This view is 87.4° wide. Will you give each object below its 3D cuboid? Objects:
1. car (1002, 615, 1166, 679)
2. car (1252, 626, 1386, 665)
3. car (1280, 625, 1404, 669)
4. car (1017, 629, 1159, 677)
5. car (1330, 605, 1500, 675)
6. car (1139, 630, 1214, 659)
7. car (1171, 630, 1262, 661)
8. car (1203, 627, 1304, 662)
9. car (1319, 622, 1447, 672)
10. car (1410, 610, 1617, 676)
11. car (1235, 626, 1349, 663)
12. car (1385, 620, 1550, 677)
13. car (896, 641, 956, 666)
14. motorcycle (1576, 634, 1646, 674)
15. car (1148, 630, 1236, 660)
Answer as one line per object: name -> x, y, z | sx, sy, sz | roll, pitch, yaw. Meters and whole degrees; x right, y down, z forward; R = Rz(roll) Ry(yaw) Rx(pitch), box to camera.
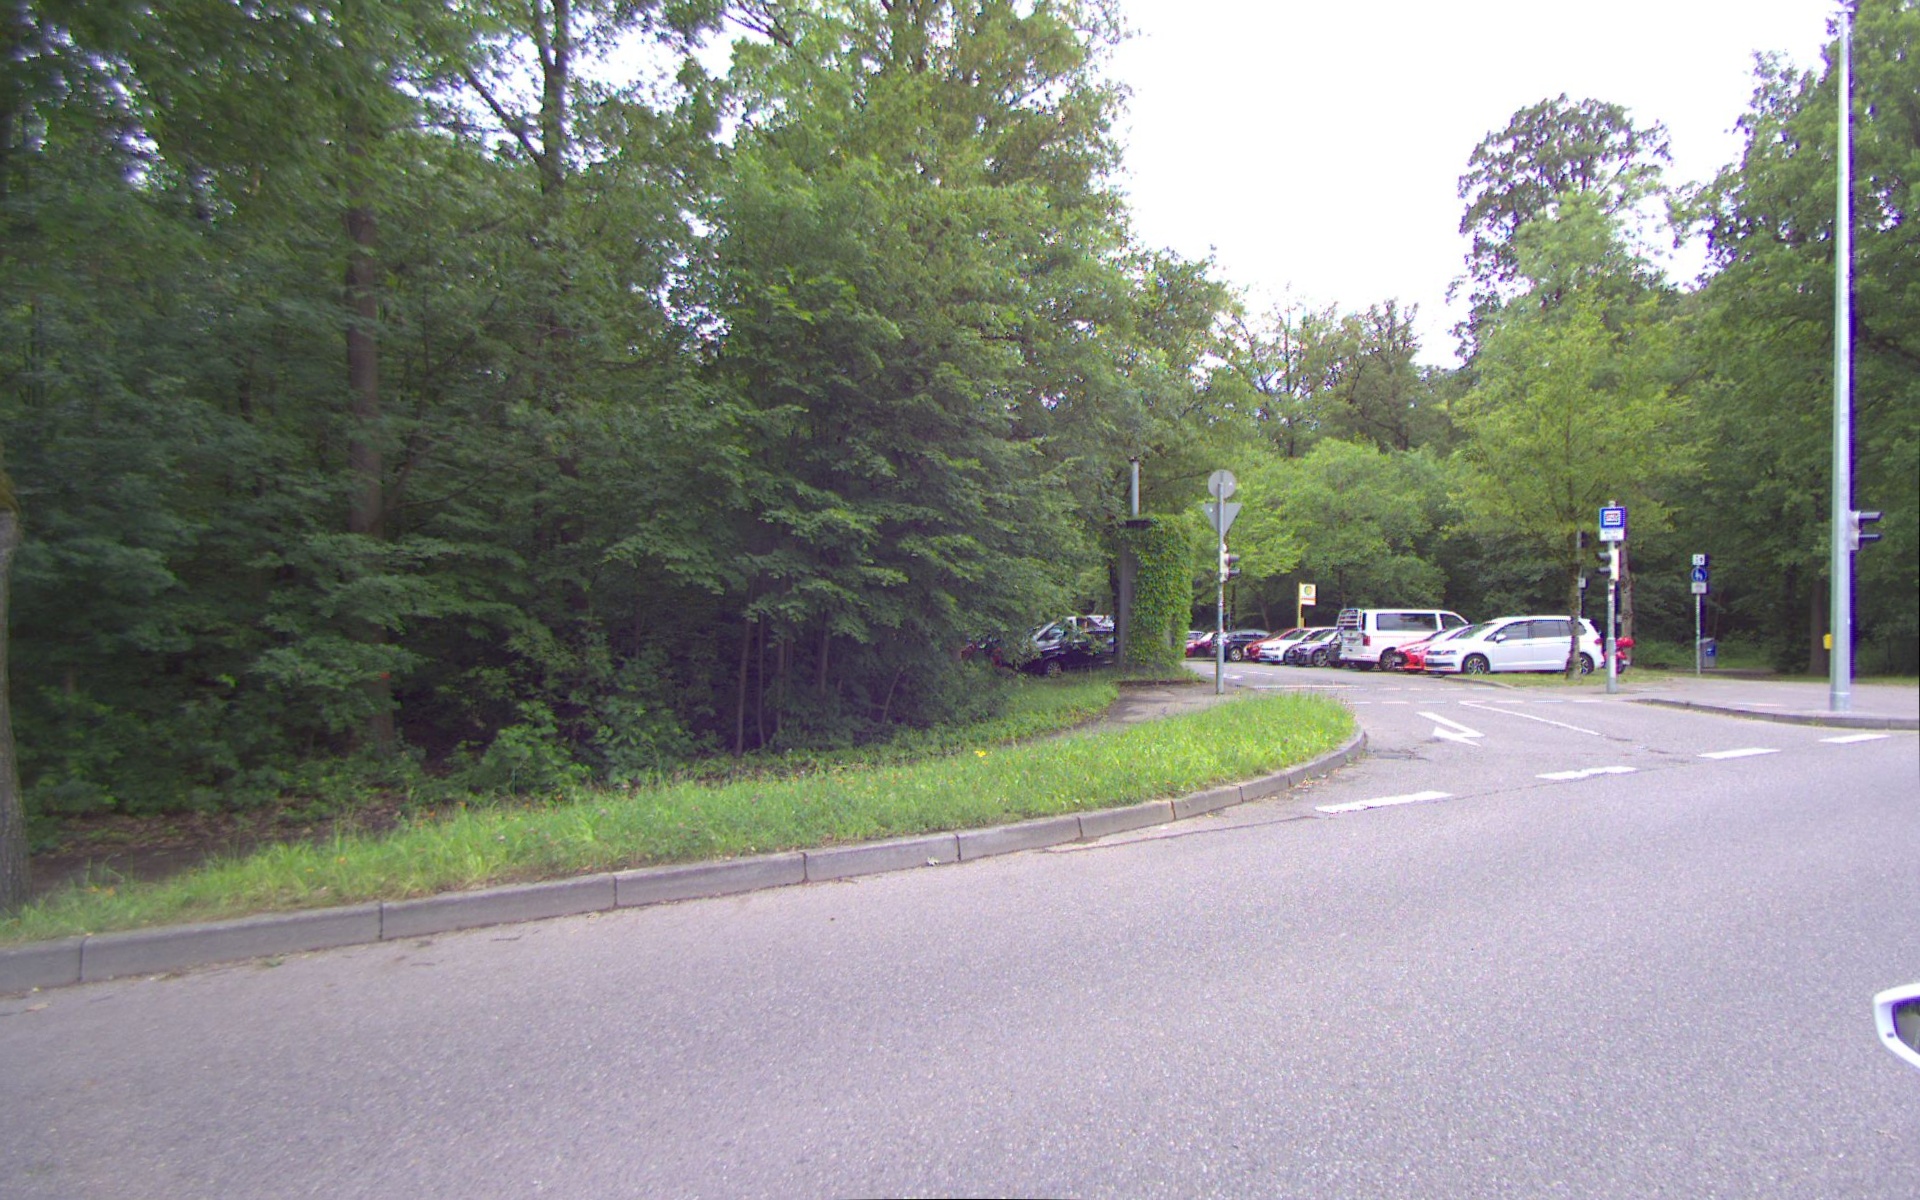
car -> 3.979, 1.510, 32.683 | 5.004, 1.940, 1.978 | -1, -2, -3
car -> 14.264, 1.806, 40.032 | 4.696, 1.495, 1.852 | 0, -2, -5
car -> 14.268, 1.791, 37.658 | 3.925, 1.502, 1.876 | 2, -3, -6
car -> 3.759, 1.555, 29.895 | 3.923, 1.397, 1.722 | 0, -2, -4
car -> 14.773, 1.283, 32.772 | 4.575, 2.048, 2.082 | 2, -1, -4
car -> 11.878, 2.447, 55.192 | 3.648, 1.530, 1.748 | 0, -3, -12
car -> 12.812, 2.269, 50.236 | 3.930, 1.468, 1.937 | 0, -2, -12
car -> 13.181, 1.977, 45.189 | 3.926, 1.502, 1.920 | 0, -2, -8
car -> 14.837, 1.647, 35.339 | 3.664, 1.575, 1.844 | 2, 0, -6
car -> 15.025, 1.180, 27.500 | 4.445, 1.715, 2.166 | 0, -3, 1
car -> 14.073, 1.887, 42.726 | 4.164, 1.500, 1.917 | 0, -3, -8
car -> 15.056, 1.425, 29.980 | 3.930, 1.576, 1.947 | 1, -1, 2
car -> -2.358, 3.675, 68.974 | 3.900, 1.649, 1.996 | -1, -2, -8
motorcycle -> 20.557, 1.690, 31.752 | 0.665, 1.176, 2.008 | 0, -1, -10
car -> 12.185, 2.381, 52.830 | 4.065, 1.480, 1.862 | 0, -3, -10
